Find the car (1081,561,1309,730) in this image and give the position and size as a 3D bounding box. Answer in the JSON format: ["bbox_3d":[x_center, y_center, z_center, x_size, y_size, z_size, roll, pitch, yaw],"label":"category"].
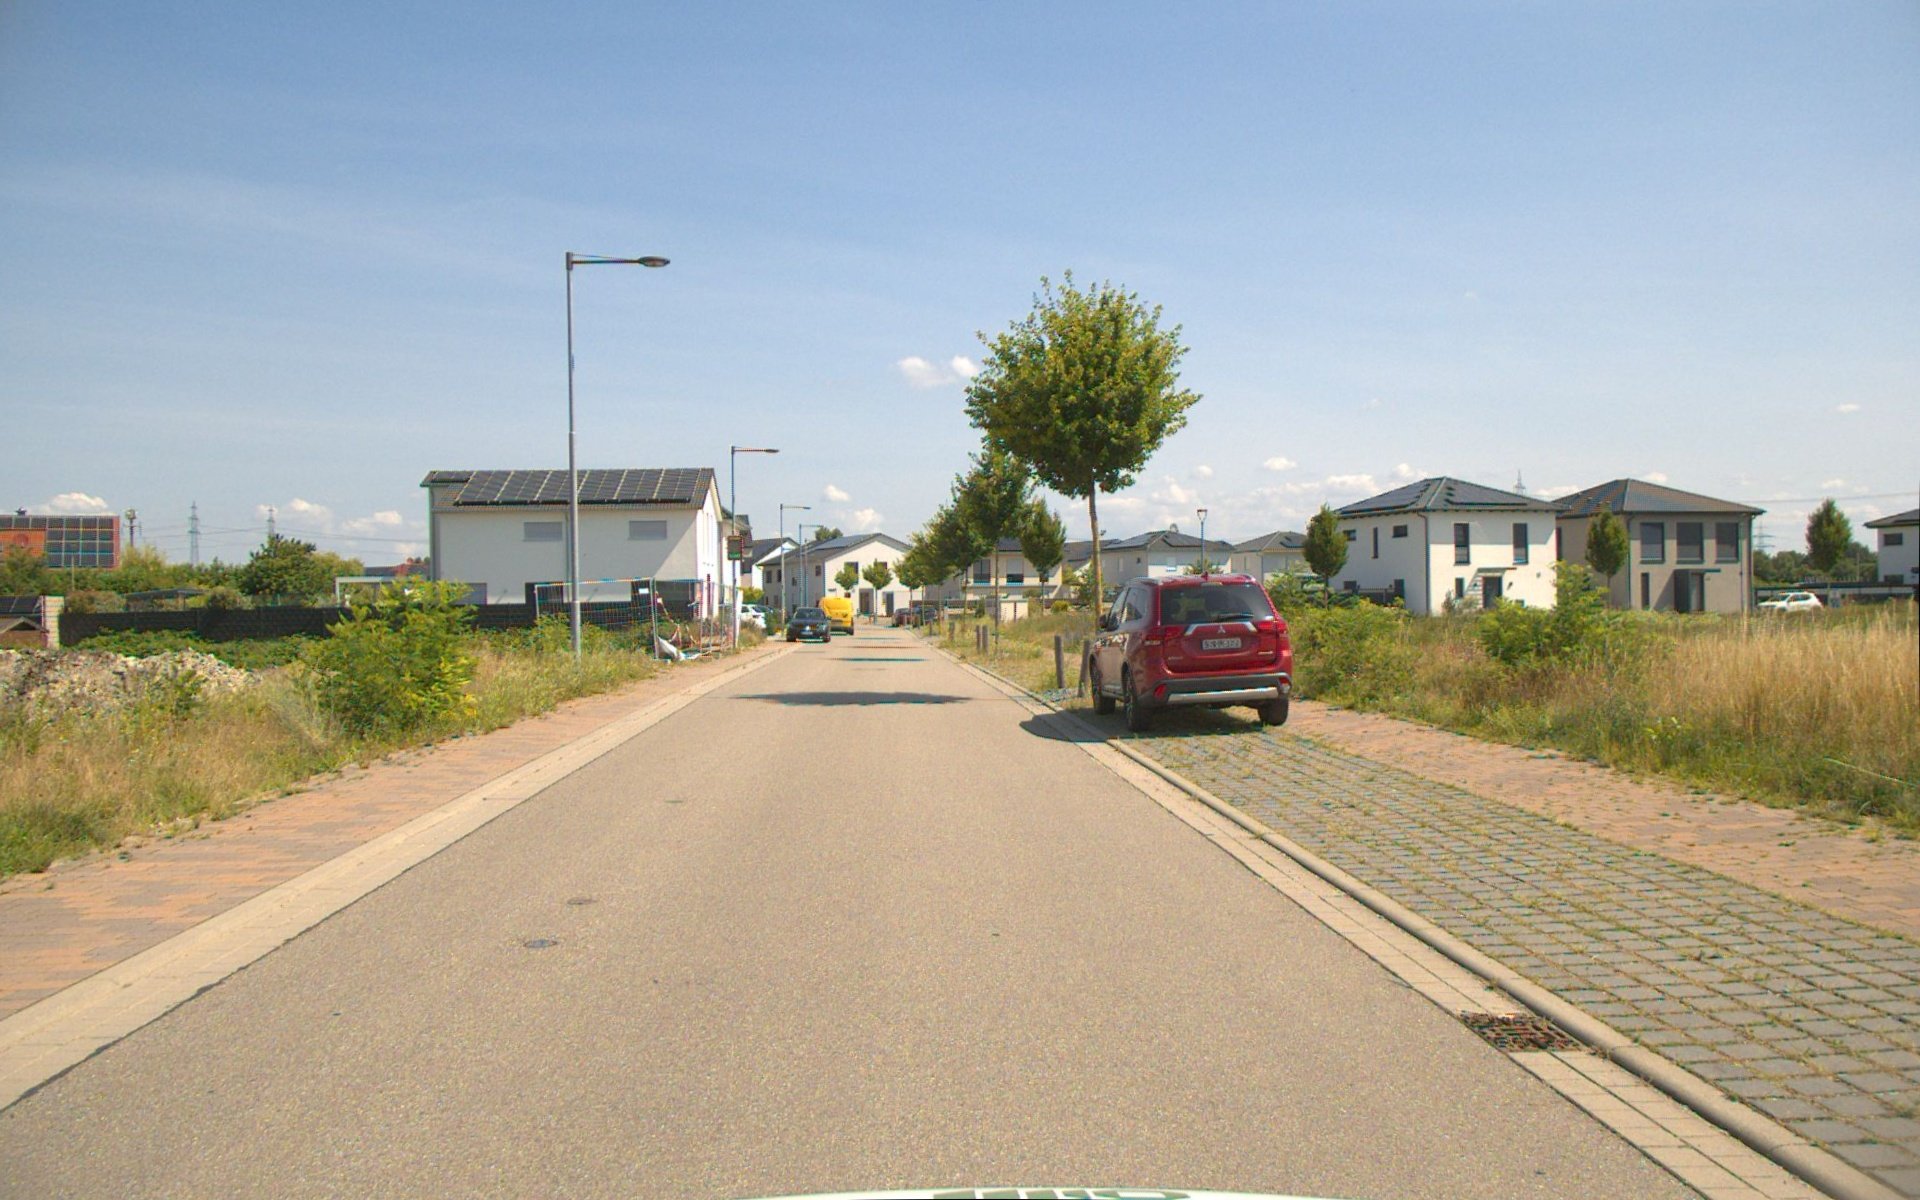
[{"bbox_3d":[2.632,0.465,19.543,1.742,1.692,4.430,-2,0,-4],"label":"car"}]

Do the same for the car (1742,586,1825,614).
[{"bbox_3d":[44.710,-0.011,89.783,3.924,1.422,1.742,-1,-1,-17],"label":"car"}]

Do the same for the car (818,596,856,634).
[{"bbox_3d":[-6.809,0.840,91.082,1.904,2.016,4.210,-1,-1,-7],"label":"car"}]

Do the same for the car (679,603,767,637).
[{"bbox_3d":[-11.604,0.961,81.153,3.984,1.609,1.785,0,0,2],"label":"car"}]

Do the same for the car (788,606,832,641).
[{"bbox_3d":[-6.407,1.000,71.007,1.710,1.429,4.157,1,0,-3],"label":"car"}]

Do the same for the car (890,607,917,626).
[{"bbox_3d":[-4.441,1.283,129.940,1.598,1.346,3.824,-1,-2,-10],"label":"car"}]

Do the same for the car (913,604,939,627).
[{"bbox_3d":[-2.304,1.037,111.432,1.607,1.427,3.807,-1,-2,-4],"label":"car"}]
